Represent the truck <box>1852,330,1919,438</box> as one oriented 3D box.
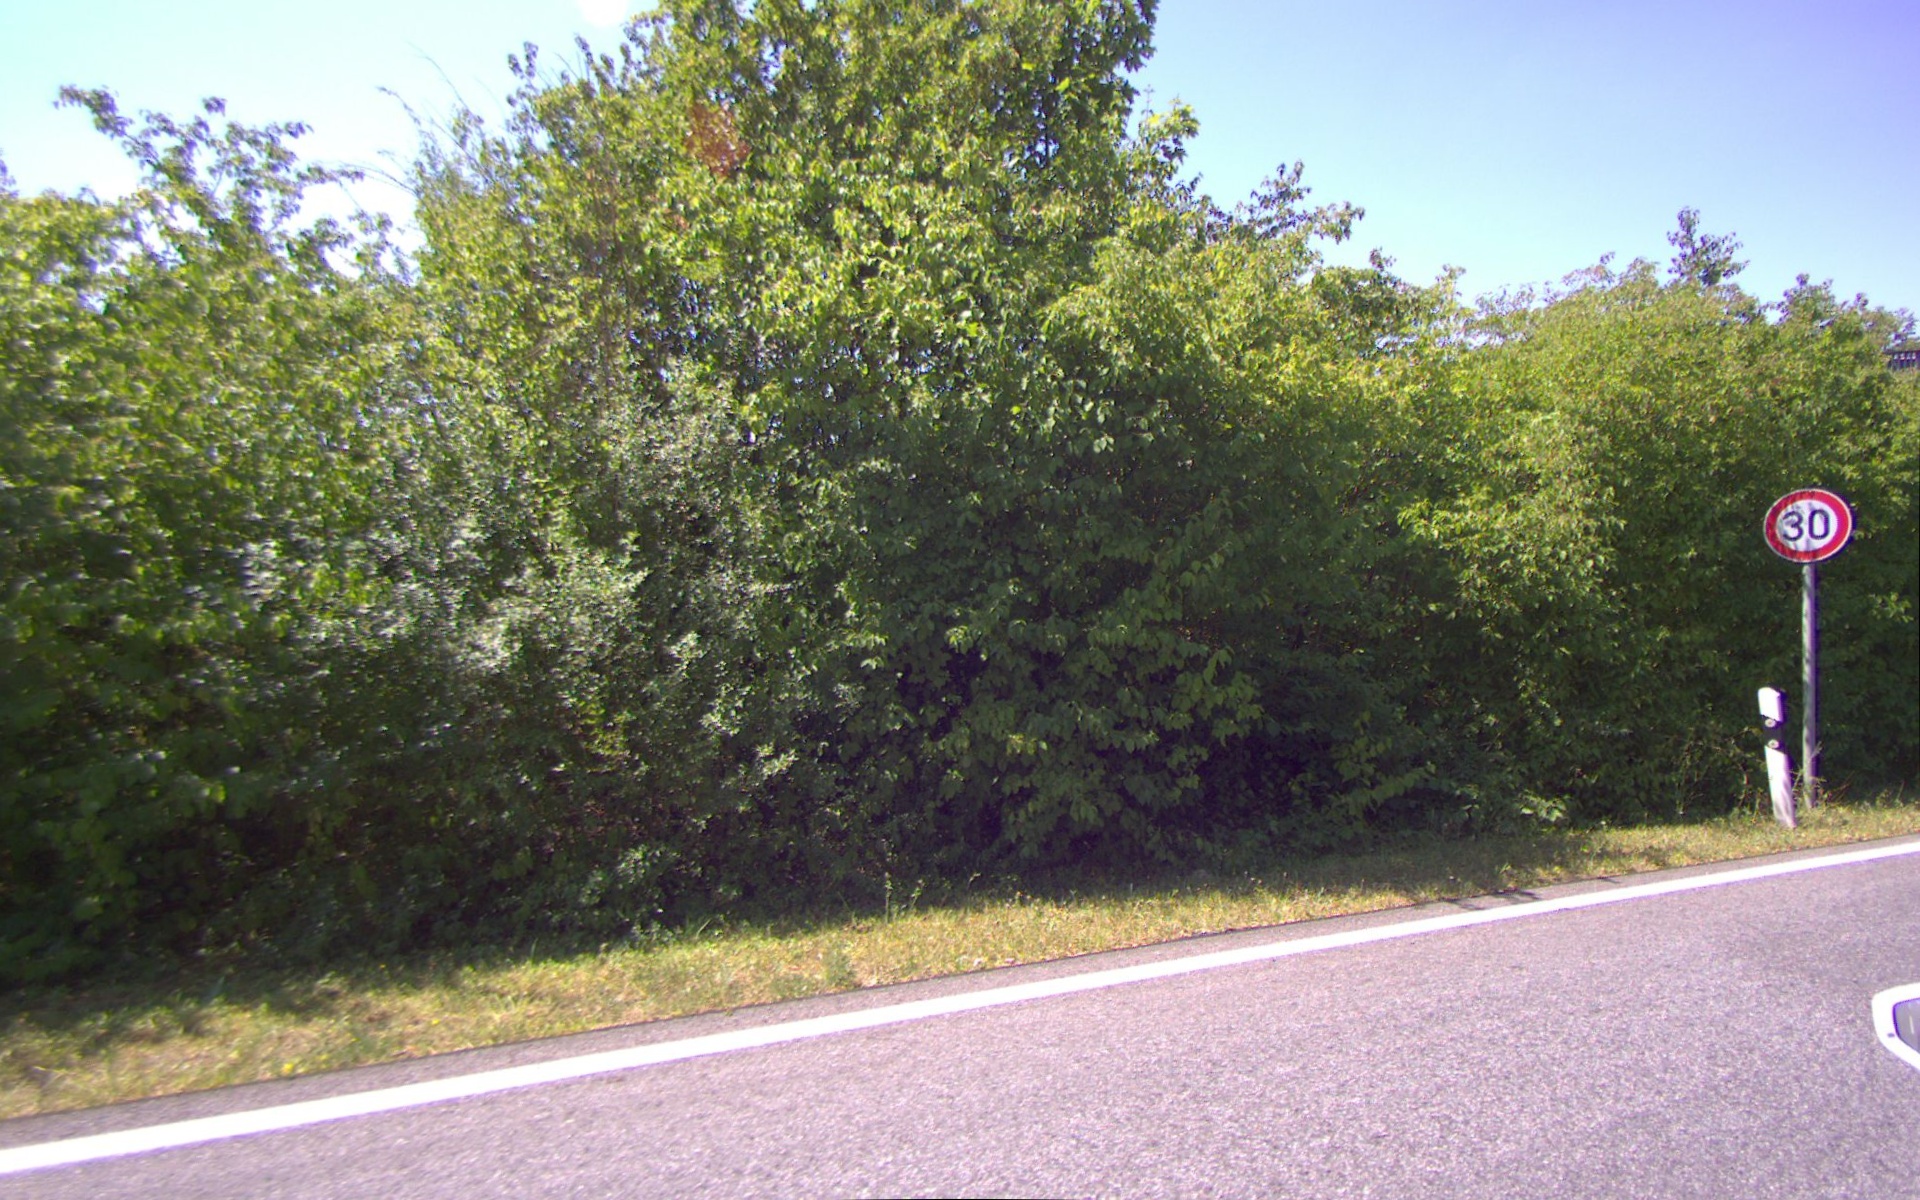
[{"bbox_3d":[39.736,-8.420,39.163,8.754,3.637,3.028,-3,1,-15],"label":"truck"}]
